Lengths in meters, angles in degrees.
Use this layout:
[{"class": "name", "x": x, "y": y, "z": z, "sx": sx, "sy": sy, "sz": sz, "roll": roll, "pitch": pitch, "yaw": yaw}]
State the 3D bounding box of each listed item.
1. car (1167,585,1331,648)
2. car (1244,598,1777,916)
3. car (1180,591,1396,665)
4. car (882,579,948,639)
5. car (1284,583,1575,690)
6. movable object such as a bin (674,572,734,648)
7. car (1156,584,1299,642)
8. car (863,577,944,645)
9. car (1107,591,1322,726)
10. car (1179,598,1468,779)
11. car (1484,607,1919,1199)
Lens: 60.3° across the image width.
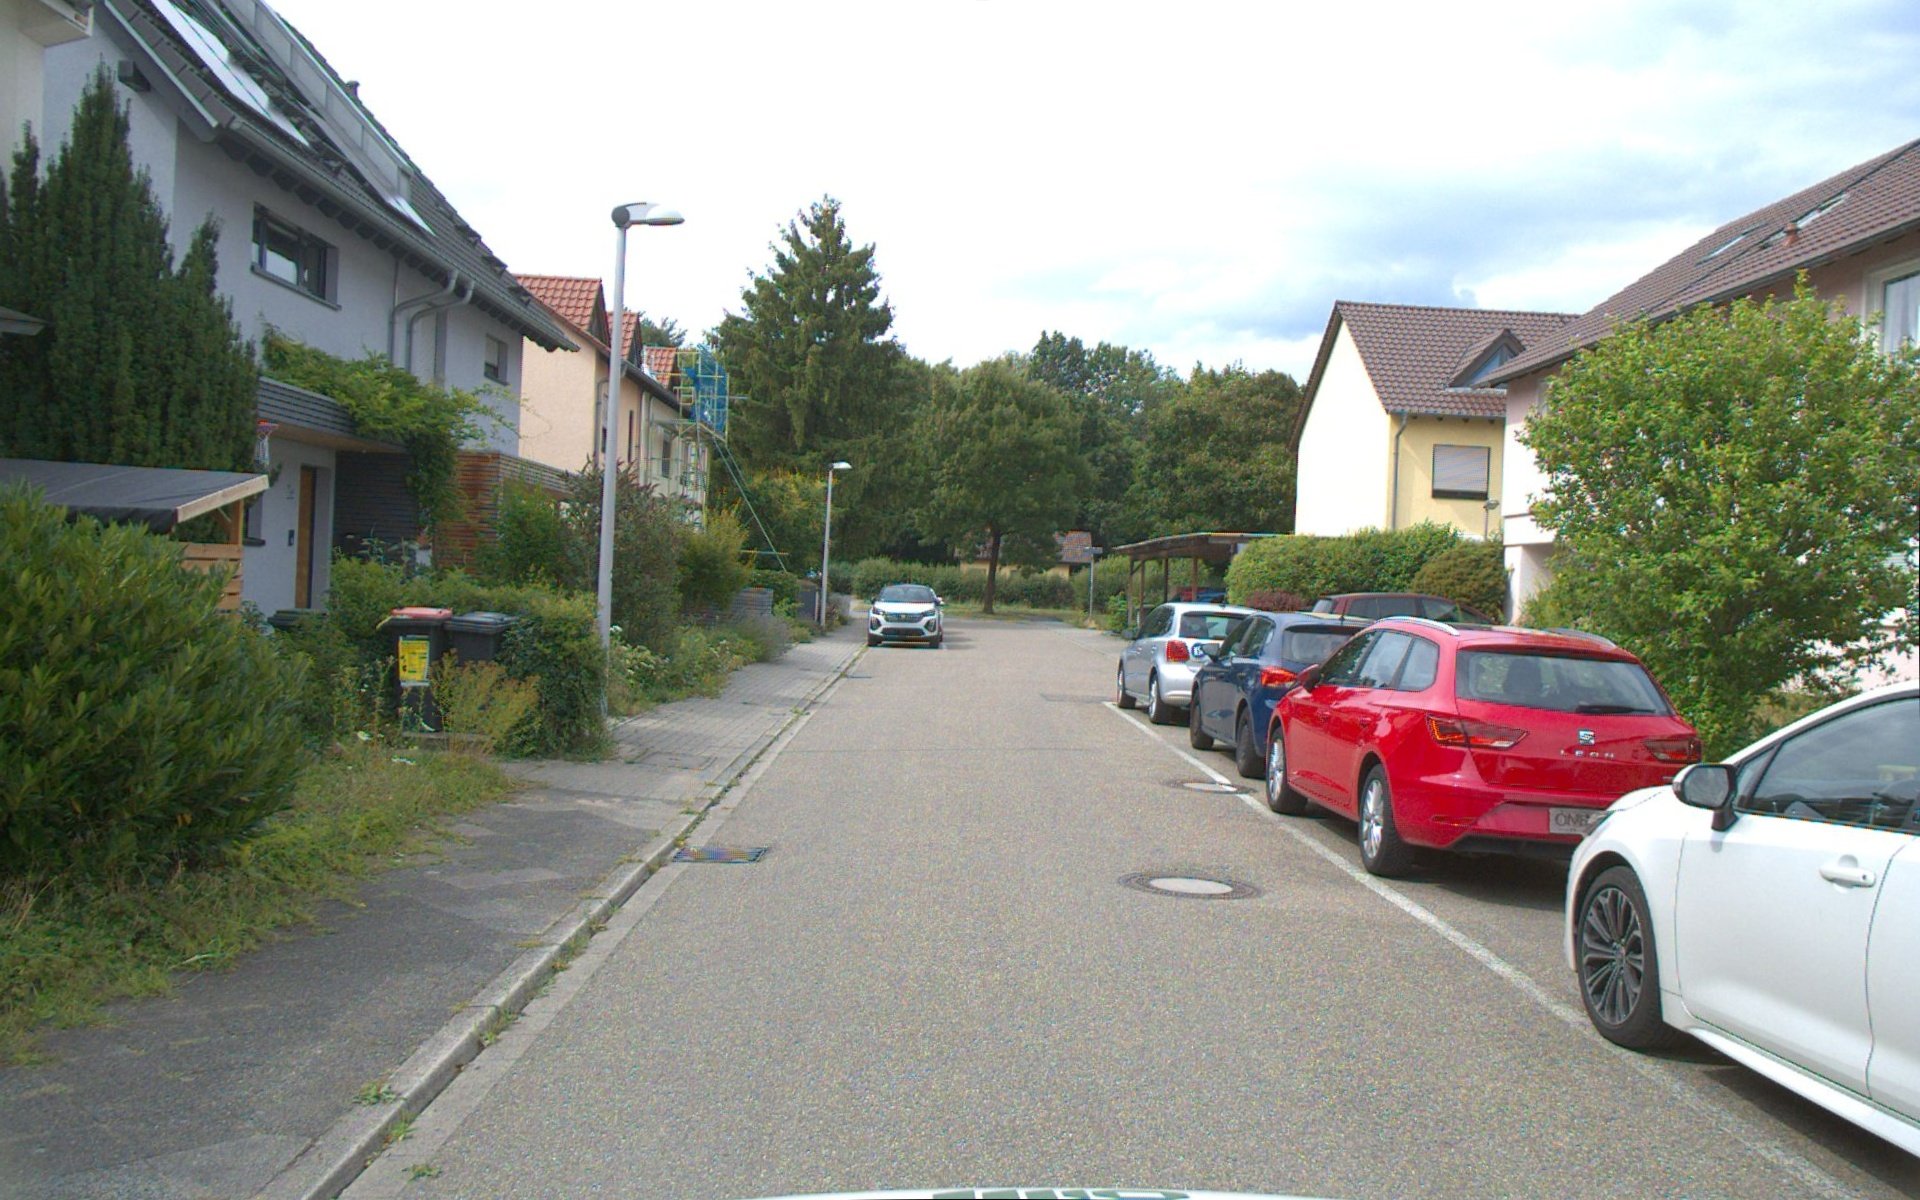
[{"class": "car", "x": 7.736, "y": 0.434, "z": 44.481, "sx": 3.966, "sy": 1.549, "sz": 1.949, "roll": 2, "pitch": 1, "yaw": -4}, {"class": "car", "x": 3.209, "y": 0.795, "z": 10.799, "sx": 1.738, "sy": 1.460, "sz": 4.825, "roll": 4, "pitch": 0, "yaw": -1}, {"class": "car", "x": 7.269, "y": 0.611, "z": 36.932, "sx": 4.361, "sy": 1.458, "sz": 2.026, "roll": 2, "pitch": 1, "yaw": -3}, {"class": "car", "x": -1.268, "y": 0.215, "z": 47.345, "sx": 1.773, "sy": 1.589, "sz": 4.847, "roll": 2, "pitch": 1, "yaw": -1}, {"class": "car", "x": 7.590, "y": 0.572, "z": 27.031, "sx": 4.183, "sy": 1.587, "sz": 1.934, "roll": 1, "pitch": 0, "yaw": -1}, {"class": "movable object such as a bin", "x": -4.656, "y": 0.175, "z": 30.126, "sx": 0.930, "sy": 1.335, "sz": 1.000, "roll": 1, "pitch": 0, "yaw": -2}, {"class": "car", "x": 7.955, "y": 0.370, "z": 49.407, "sx": 3.879, "sy": 1.567, "sz": 1.838, "roll": 2, "pitch": 1, "yaw": -4}, {"class": "car", "x": -1.375, "y": 0.231, "z": 41.943, "sx": 1.894, "sy": 1.583, "sz": 4.634, "roll": 2, "pitch": 1, "yaw": 0}, {"class": "car", "x": 3.115, "y": 0.661, "z": 21.130, "sx": 1.828, "sy": 1.441, "sz": 4.250, "roll": 3, "pitch": 1, "yaw": -3}, {"class": "car", "x": 3.249, "y": 0.720, "z": 15.634, "sx": 1.737, "sy": 1.379, "sz": 4.265, "roll": 2, "pitch": 1, "yaw": 0}, {"class": "car", "x": 3.291, "y": 0.808, "z": 4.785, "sx": 1.801, "sy": 1.437, "sz": 4.634, "roll": 2, "pitch": 1, "yaw": -4}]
